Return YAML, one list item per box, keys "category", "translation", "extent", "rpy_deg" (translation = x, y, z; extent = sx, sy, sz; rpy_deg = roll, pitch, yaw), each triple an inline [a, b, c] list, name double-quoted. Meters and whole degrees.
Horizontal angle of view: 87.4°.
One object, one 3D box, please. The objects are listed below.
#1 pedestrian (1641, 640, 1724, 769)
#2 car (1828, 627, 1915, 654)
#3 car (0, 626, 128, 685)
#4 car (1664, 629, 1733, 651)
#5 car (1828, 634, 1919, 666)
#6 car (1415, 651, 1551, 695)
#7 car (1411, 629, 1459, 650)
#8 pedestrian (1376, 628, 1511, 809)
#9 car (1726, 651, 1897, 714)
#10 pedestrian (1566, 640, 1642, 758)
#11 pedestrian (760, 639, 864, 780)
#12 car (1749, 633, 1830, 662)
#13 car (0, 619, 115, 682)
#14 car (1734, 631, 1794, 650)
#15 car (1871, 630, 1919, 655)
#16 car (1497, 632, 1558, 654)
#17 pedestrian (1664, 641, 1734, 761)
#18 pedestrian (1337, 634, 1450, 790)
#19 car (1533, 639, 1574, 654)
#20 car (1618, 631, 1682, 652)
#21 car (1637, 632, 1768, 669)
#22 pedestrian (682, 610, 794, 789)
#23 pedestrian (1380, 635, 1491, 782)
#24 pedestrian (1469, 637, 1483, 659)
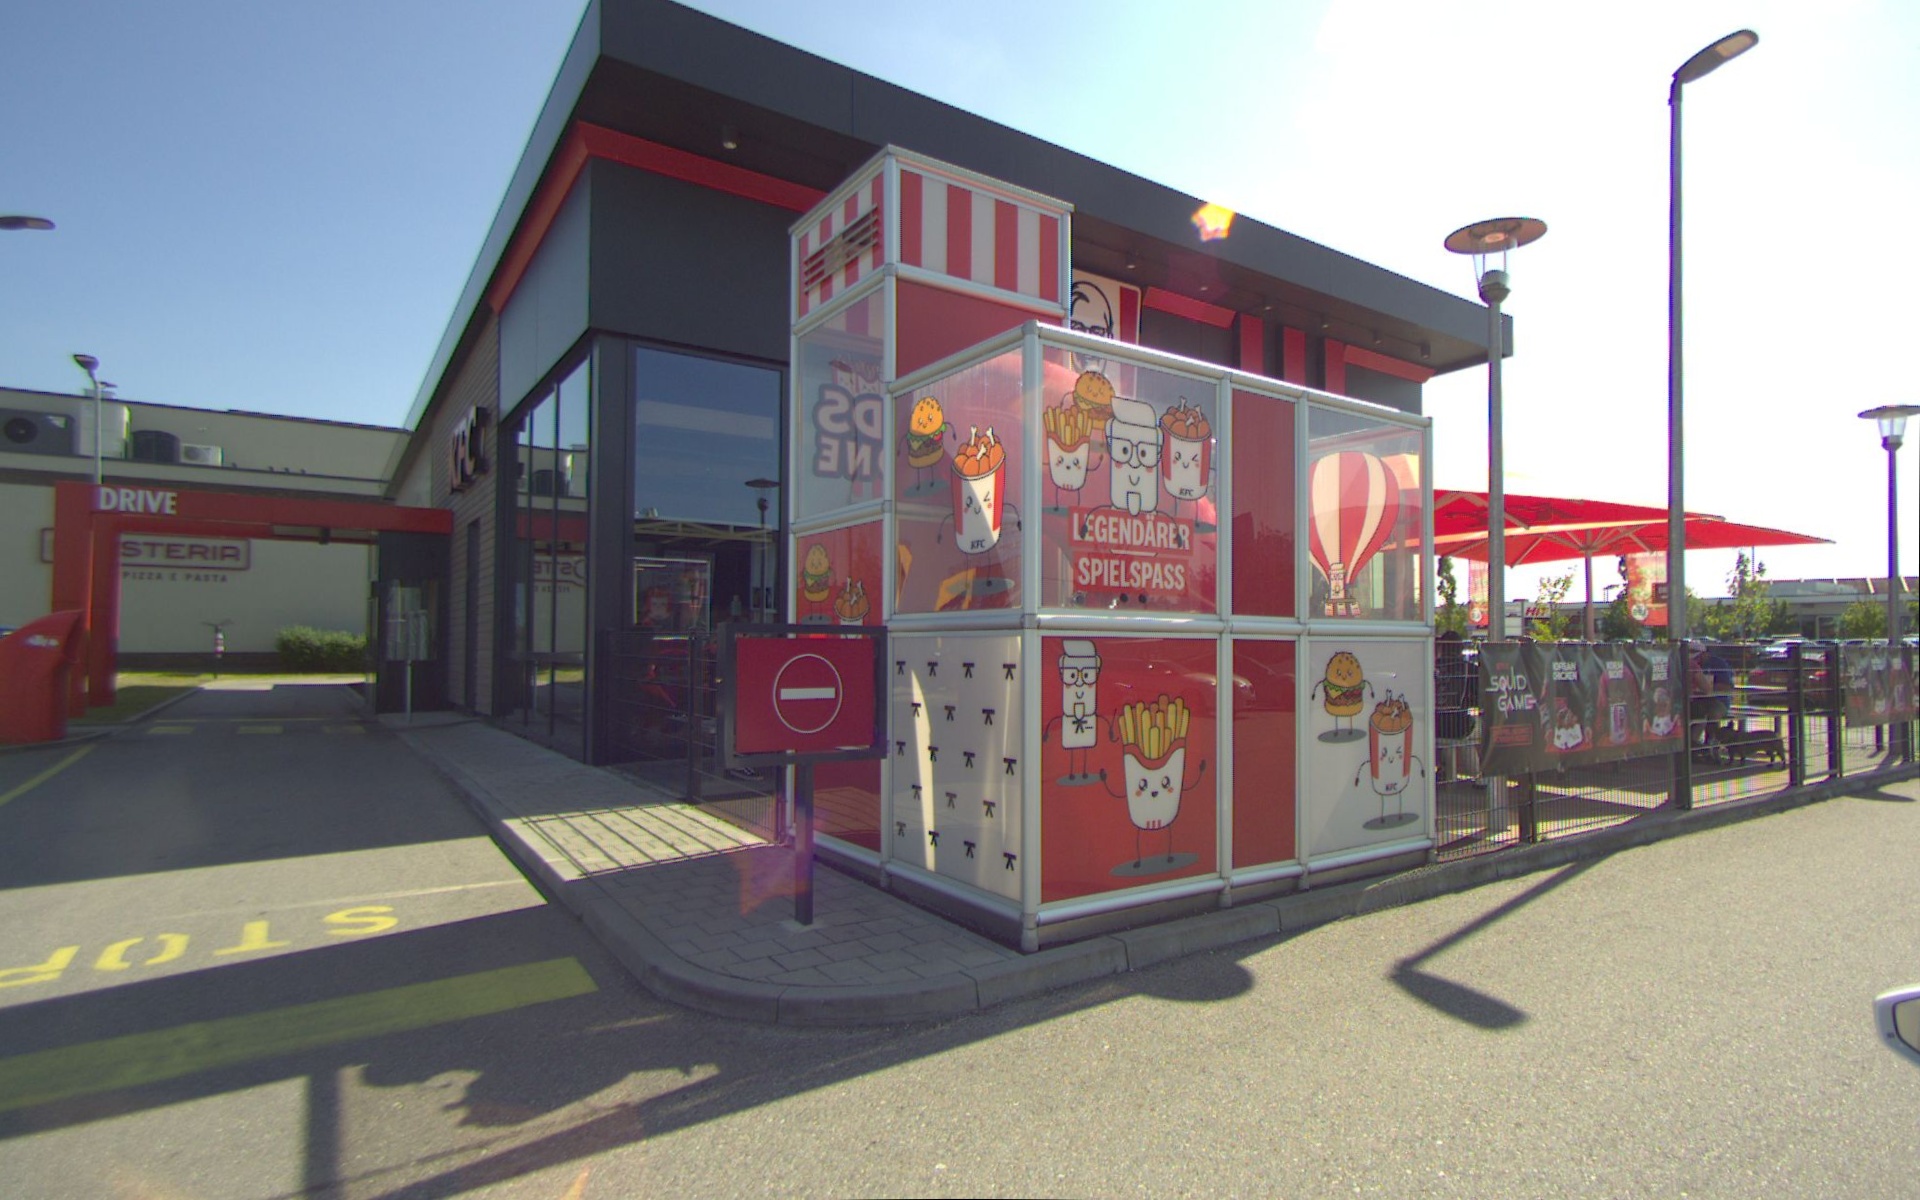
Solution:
- category: "pedestrian"
  translation: [7.737, 1.083, 10.754]
  extent: [0.675, 1.290, 0.838]
  rpy_deg: [0, -2, 39]
- category: "car"
  translation: [66.200, 2.942, 72.979]
  extent: [1.936, 1.880, 4.363]
  rpy_deg: [2, -2, -34]
- category: "car"
  translation: [-27.056, 1.586, 29.063]
  extent: [4.404, 1.630, 1.771]
  rpy_deg: [2, -2, -36]
- category: "car"
  translation: [64.905, 3.520, 88.320]
  extent: [1.936, 1.880, 4.530]
  rpy_deg: [2, -2, -34]
- category: "car"
  translation: [56.564, 3.077, 62.218]
  extent: [4.326, 1.880, 1.952]
  rpy_deg: [1, -1, -11]
- category: "car"
  translation: [18.241, 2.550, 35.023]
  extent: [4.535, 1.431, 1.732]
  rpy_deg: [2, -3, -22]
- category: "car"
  translation: [48.129, 4.016, 101.872]
  extent: [4.018, 2.040, 1.996]
  rpy_deg: [1, -1, -11]
- category: "pedestrian"
  translation: [3.985, 0.938, 8.290]
  extent: [0.797, 1.405, 0.661]
  rpy_deg: [1, -1, -26]
- category: "car"
  translation: [21.957, 2.104, 25.881]
  extent: [4.297, 1.488, 1.821]
  rpy_deg: [3, -3, -26]
- category: "pedestrian"
  translation: [7.346, 1.104, 11.461]
  extent: [0.675, 1.290, 0.549]
  rpy_deg: [0, -2, 40]
- category: "pedestrian"
  translation: [-1.369, 0.976, 9.269]
  extent: [0.687, 1.216, 0.748]
  rpy_deg: [2, -2, -33]
- category: "car"
  translation: [55.508, 3.165, 67.264]
  extent: [4.210, 1.880, 1.996]
  rpy_deg: [1, -1, -11]
- category: "car"
  translation: [-25.359, 1.336, 26.938]
  extent: [3.961, 1.630, 1.771]
  rpy_deg: [2, -2, -36]
- category: "car"
  translation: [80.889, 4.084, 101.075]
  extent: [1.936, 1.880, 4.363]
  rpy_deg: [2, -2, -34]
- category: "car"
  translation: [73.030, 3.291, 77.057]
  extent: [1.936, 1.880, 4.363]
  rpy_deg: [2, -2, -34]
- category: "car"
  translation: [50.501, 3.820, 89.406]
  extent: [4.652, 1.870, 1.995]
  rpy_deg: [1, -2, -14]
- category: "pedestrian"
  translation: [8.333, 1.112, 11.324]
  extent: [0.604, 1.290, 0.621]
  rpy_deg: [0, -2, 39]
- category: "pedestrian"
  translation: [3.907, 0.977, 9.064]
  extent: [0.678, 1.322, 0.661]
  rpy_deg: [1, -1, -26]
- category: "car"
  translation: [64.157, 5.039, 108.563]
  extent: [1.653, 1.572, 3.437]
  rpy_deg: [2, -2, -39]
- category: "car"
  translation: [69.445, 4.144, 101.156]
  extent: [2.064, 2.040, 4.878]
  rpy_deg: [2, -2, -38]
- category: "car"
  translation: [38.543, 2.584, 52.282]
  extent: [1.966, 1.754, 5.182]
  rpy_deg: [2, -2, -30]
- category: "pedestrian"
  translation: [-1.941, 0.827, 8.756]
  extent: [0.687, 1.462, 0.790]
  rpy_deg: [2, -2, -36]
- category: "pedestrian"
  translation: [4.505, 0.998, 9.533]
  extent: [0.703, 1.322, 0.661]
  rpy_deg: [1, -1, -26]
- category: "pedestrian"
  translation: [36.795, 3.422, 71.686]
  extent: [0.614, 1.576, 0.666]
  rpy_deg: [1, -1, -8]
